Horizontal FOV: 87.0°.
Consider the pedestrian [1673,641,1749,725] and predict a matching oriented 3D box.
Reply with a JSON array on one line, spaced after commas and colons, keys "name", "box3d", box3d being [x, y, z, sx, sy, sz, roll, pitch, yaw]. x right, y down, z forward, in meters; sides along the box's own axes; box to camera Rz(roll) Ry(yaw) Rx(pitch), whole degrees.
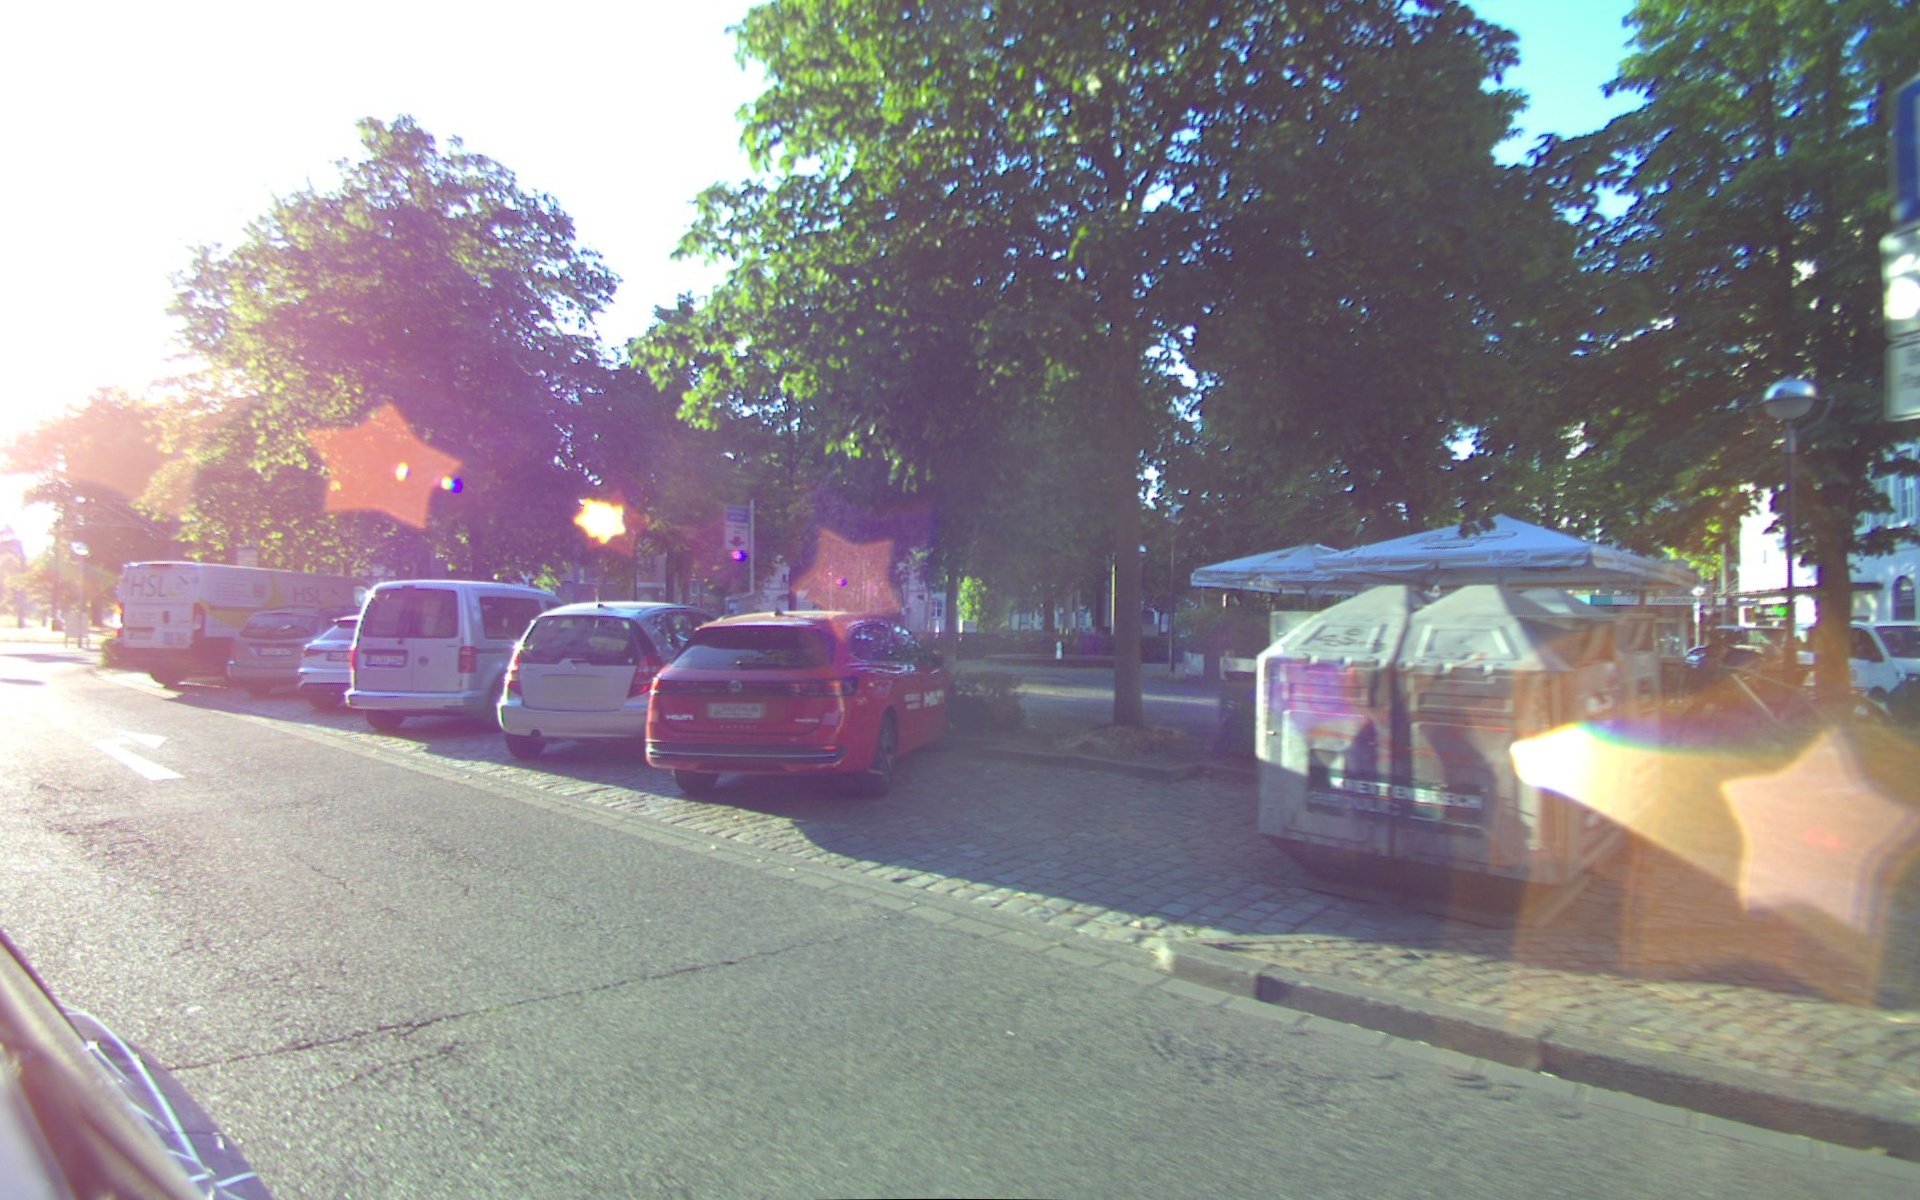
[{"name": "pedestrian", "box3d": [10.960, 1.197, 14.781, 0.850, 1.167, 0.787, -1, -4, 37]}]

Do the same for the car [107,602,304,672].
[{"name": "car", "box3d": [-18.634, 0.866, 25.232, 1.781, 1.594, 3.876, 0, 0, 7]}]

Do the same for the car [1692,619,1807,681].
[{"name": "car", "box3d": [27.836, 1.709, 35.842, 1.984, 2.029, 3.975, -1, -1, 19]}]

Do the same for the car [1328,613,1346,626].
[{"name": "car", "box3d": [49.489, 2.552, 132.933, 1.983, 1.785, 3.977, -1, -1, 18]}]

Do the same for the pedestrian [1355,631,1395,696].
[{"name": "pedestrian", "box3d": [7.969, 1.220, 19.441, 0.527, 1.225, 0.527, 4, -4, -41]}]

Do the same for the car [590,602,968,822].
[{"name": "car", "box3d": [-1.306, 0.821, 9.103, 1.980, 1.497, 3.984, 0, -2, 12]}]

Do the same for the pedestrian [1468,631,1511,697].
[{"name": "pedestrian", "box3d": [9.692, 1.173, 18.518, 0.527, 1.183, 0.527, 4, -4, -41]}]

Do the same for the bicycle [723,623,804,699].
[{"name": "bicycle", "box3d": [-3.367, 1.023, 17.456, 0.395, 1.228, 1.619, -1, -1, 31]}]

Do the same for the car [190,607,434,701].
[{"name": "car", "box3d": [-11.390, 0.897, 18.171, 1.856, 1.479, 4.000, 0, -1, 0]}]

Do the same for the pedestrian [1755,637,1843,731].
[{"name": "pedestrian", "box3d": [11.300, 1.121, 13.668, 0.850, 1.208, 0.787, -1, -4, 37]}]

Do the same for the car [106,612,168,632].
[{"name": "car", "box3d": [-124.194, 3.396, 152.852, 2.290, 2.900, 7.157, -1, -2, 19]}]

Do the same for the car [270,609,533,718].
[{"name": "car", "box3d": [-8.633, 0.897, 16.103, 1.826, 1.503, 3.996, 0, 0, 3]}]

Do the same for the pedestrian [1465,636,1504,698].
[{"name": "pedestrian", "box3d": [10.376, 1.319, 20.011, 0.527, 1.183, 0.527, 4, -4, -41]}]

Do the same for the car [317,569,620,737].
[{"name": "car", "box3d": [-6.283, 0.639, 13.529, 1.848, 1.892, 3.993, 0, -1, 6]}]

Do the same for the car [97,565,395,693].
[{"name": "car", "box3d": [-14.063, 0.535, 20.349, 2.182, 2.268, 4.591, 0, -1, 15]}]

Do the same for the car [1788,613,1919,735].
[{"name": "car", "box3d": [17.491, 1.249, 18.504, 2.027, 2.002, 4.801, -1, -1, 19]}]

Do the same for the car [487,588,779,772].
[{"name": "car", "box3d": [-3.446, 0.757, 11.510, 1.728, 1.709, 3.993, 0, 0, 6]}]

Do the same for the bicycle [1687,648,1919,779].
[{"name": "bicycle", "box3d": [7.872, 1.002, 9.375, 0.355, 1.076, 1.814, 1, -1, -36]}]
